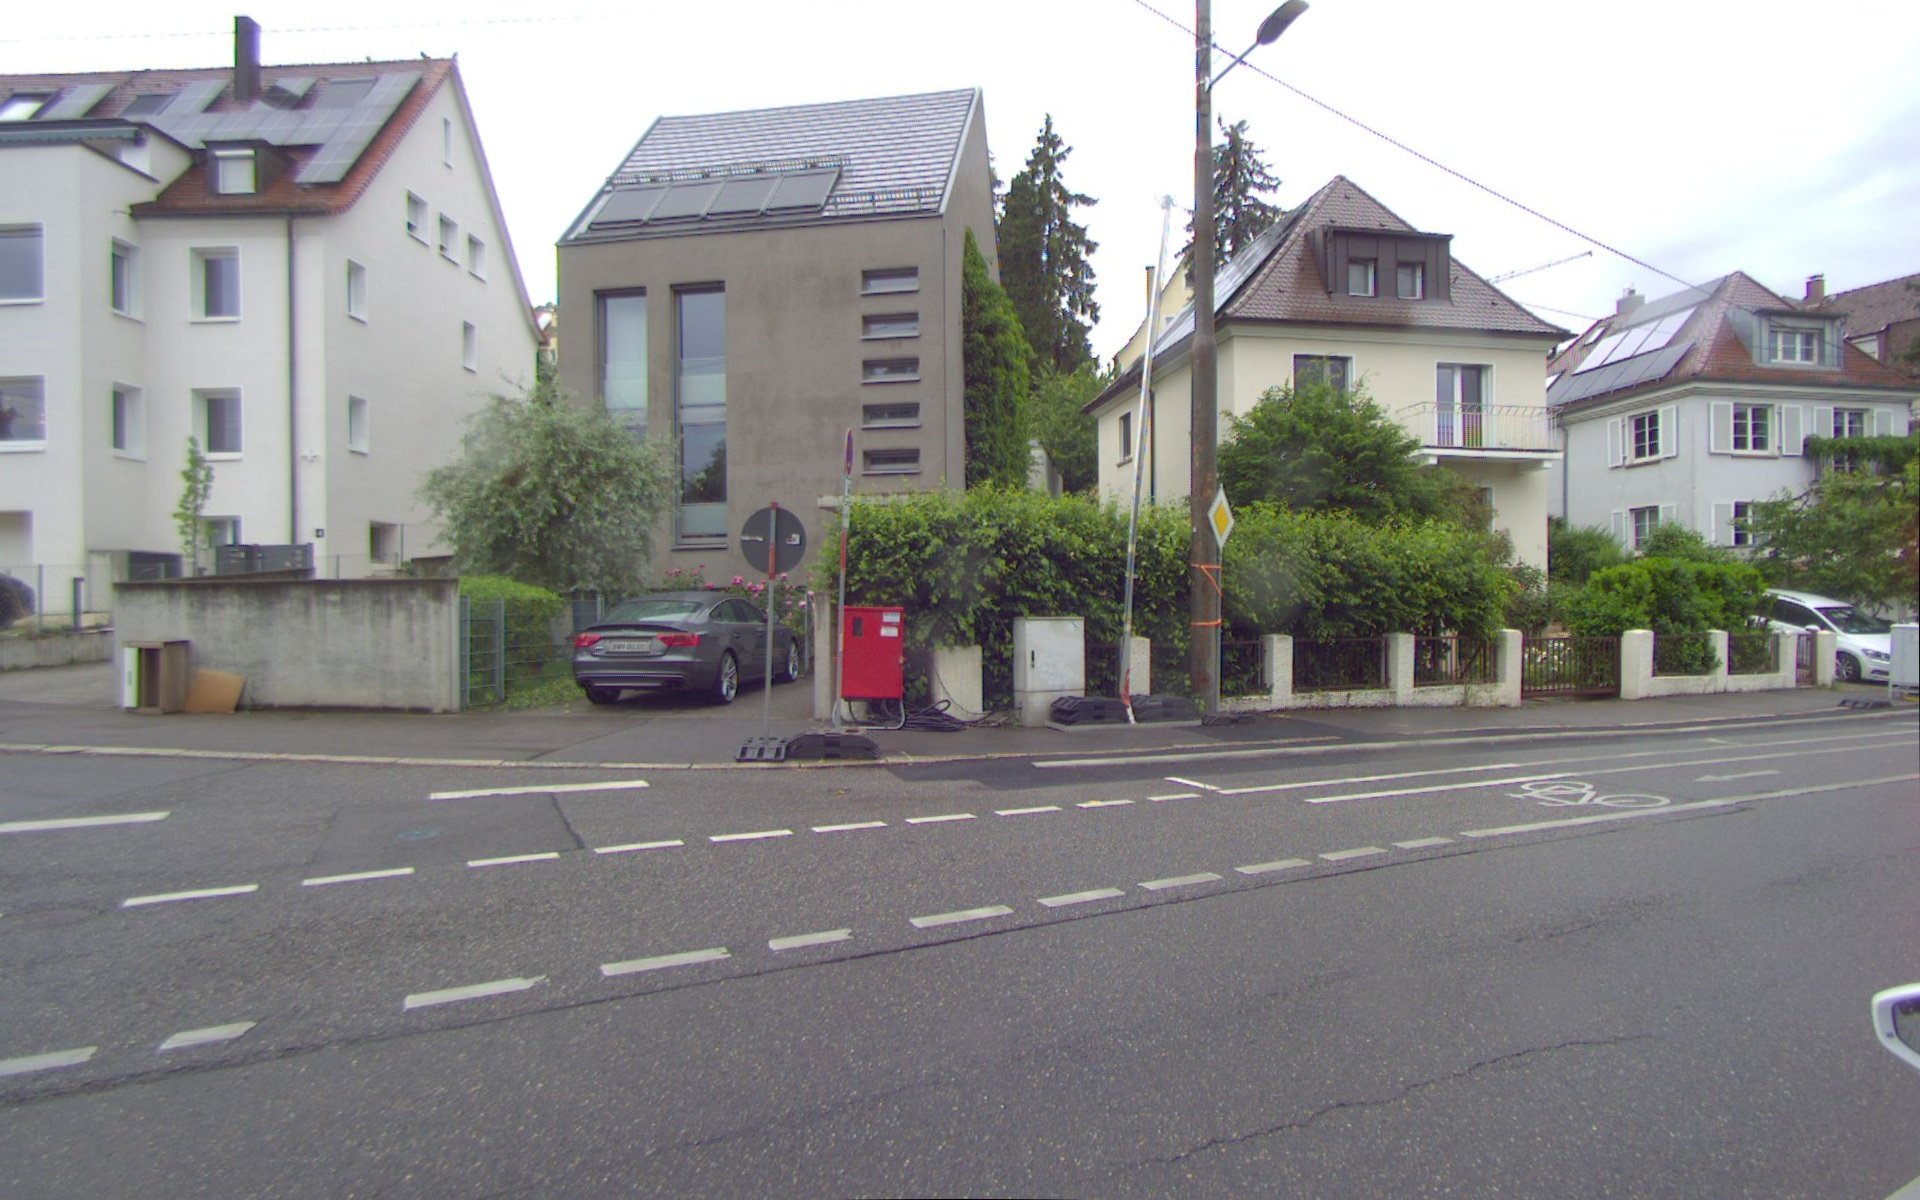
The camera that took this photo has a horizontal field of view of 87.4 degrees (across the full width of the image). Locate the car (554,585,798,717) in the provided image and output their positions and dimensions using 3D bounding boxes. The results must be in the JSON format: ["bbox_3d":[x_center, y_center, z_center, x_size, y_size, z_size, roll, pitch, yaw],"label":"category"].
[{"bbox_3d":[-3.609,0.558,13.581,1.740,1.506,4.002,0,1,7],"label":"car"}]

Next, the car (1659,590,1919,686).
[{"bbox_3d":[19.595,0.810,23.919,1.870,2.033,4.628,1,0,-18],"label":"car"}]

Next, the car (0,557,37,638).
[{"bbox_3d":[-16.732,0.044,15.173,1.576,1.298,4.008,2,4,6],"label":"car"}]
